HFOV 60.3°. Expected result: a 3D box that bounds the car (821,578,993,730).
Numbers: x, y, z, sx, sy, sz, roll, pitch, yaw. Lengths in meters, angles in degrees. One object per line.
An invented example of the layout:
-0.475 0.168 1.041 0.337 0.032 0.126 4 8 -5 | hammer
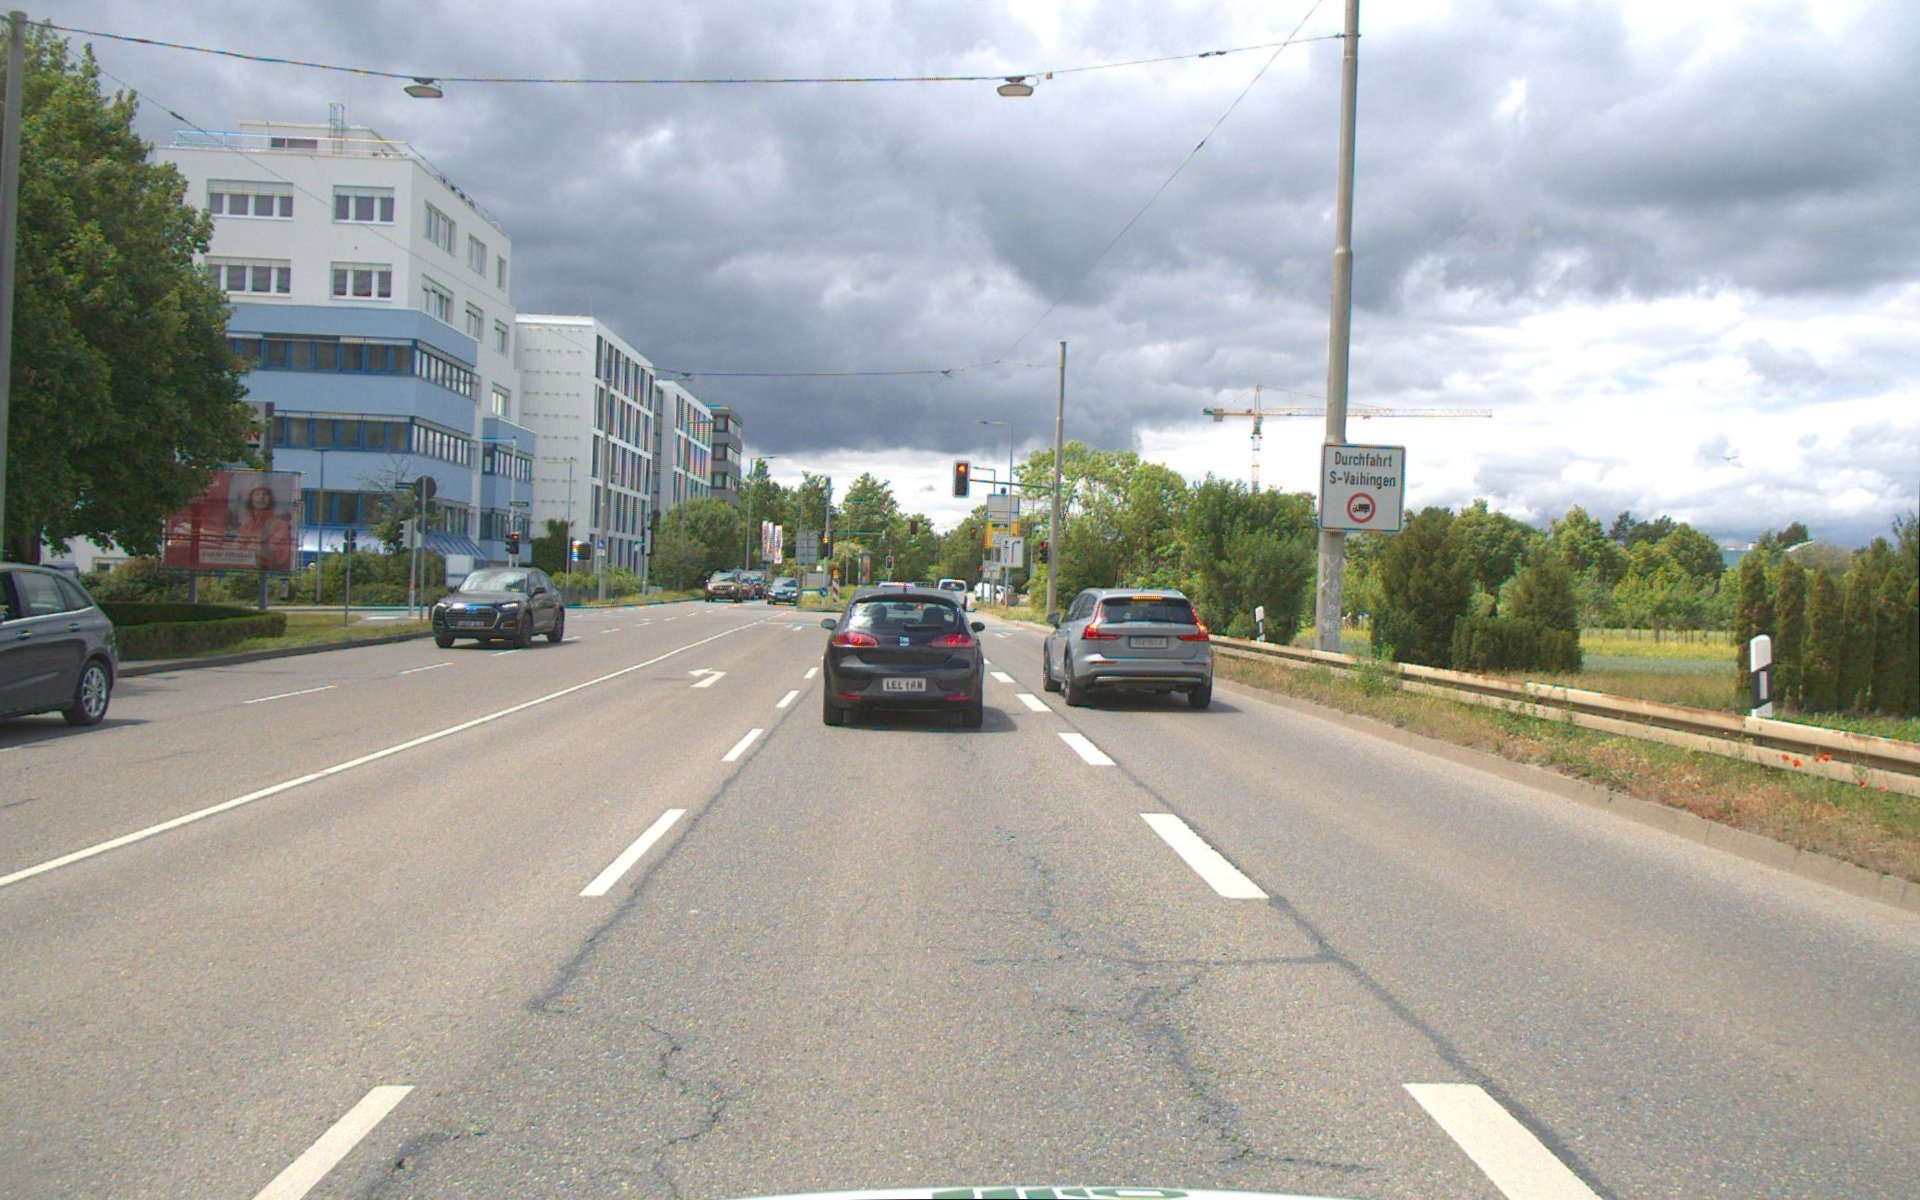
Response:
-0.517 0.542 18.623 1.712 1.510 4.000 1 0 0 | car

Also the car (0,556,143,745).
-9.086 0.424 14.604 1.760 1.613 4.311 0 0 -3 | car

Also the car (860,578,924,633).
-2.250 0.139 53.885 1.944 1.618 4.223 2 1 -4 | car

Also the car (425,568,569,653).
-9.737 0.213 35.147 1.830 1.643 4.570 2 0 -1 | car

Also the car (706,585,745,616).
-12.739 -0.004 89.909 1.716 1.659 3.998 0 0 -3 | car

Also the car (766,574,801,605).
-9.437 -0.600 88.575 1.635 1.551 4.006 0 2 -3 | car

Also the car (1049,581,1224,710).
2.248 0.553 22.163 1.918 1.552 4.340 0 0 0 | car

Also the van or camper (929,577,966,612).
-0.779 -0.316 101.418 1.862 1.960 3.994 2 -2 -6 | van or camper
